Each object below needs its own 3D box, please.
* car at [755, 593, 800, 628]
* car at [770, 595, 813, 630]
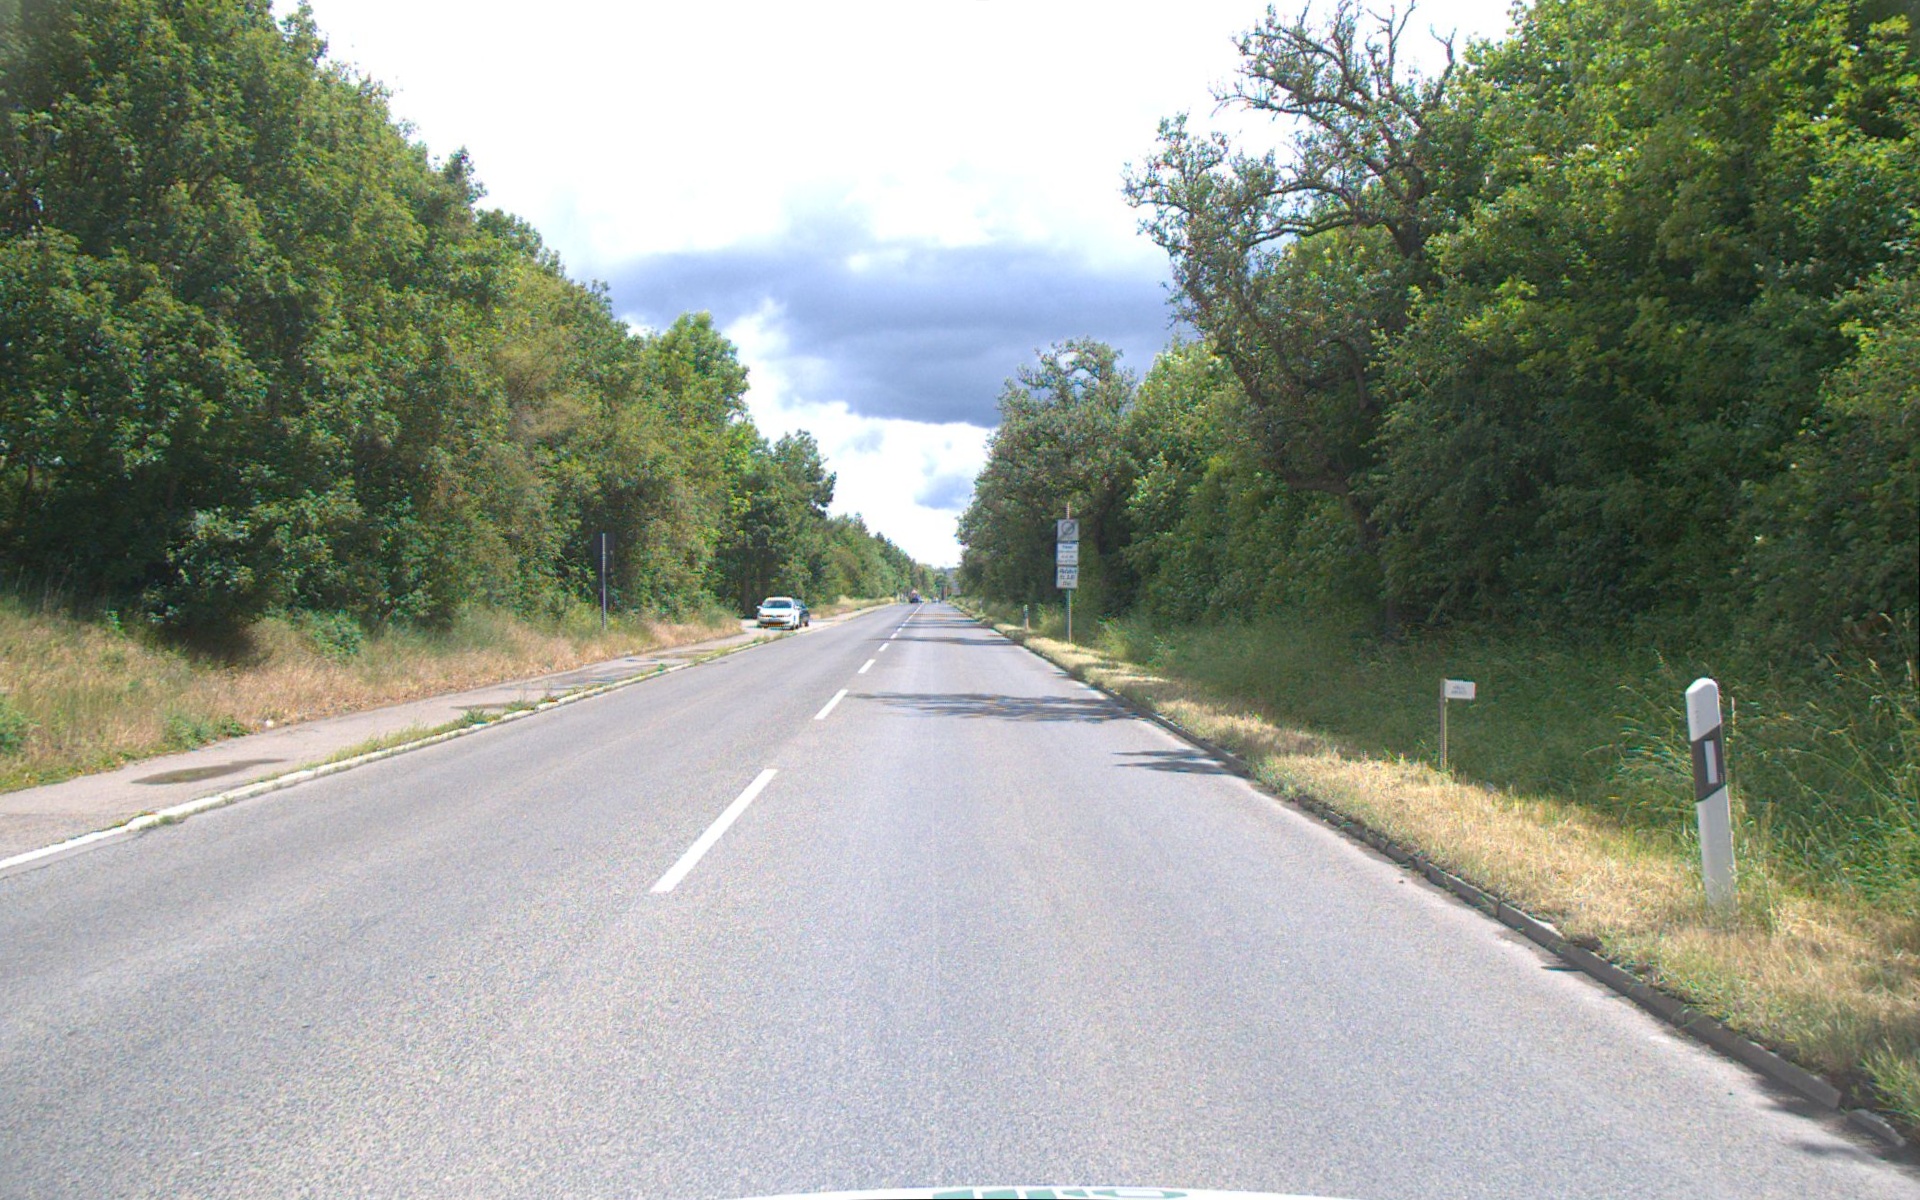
[{"bbox_3d":[-8.526,0.528,77.525,1.761,1.570,3.954,-1,-1,-1],"label":"car"},{"bbox_3d":[-8.655,0.649,85.243,1.761,1.653,3.955,-1,1,0],"label":"car"}]
